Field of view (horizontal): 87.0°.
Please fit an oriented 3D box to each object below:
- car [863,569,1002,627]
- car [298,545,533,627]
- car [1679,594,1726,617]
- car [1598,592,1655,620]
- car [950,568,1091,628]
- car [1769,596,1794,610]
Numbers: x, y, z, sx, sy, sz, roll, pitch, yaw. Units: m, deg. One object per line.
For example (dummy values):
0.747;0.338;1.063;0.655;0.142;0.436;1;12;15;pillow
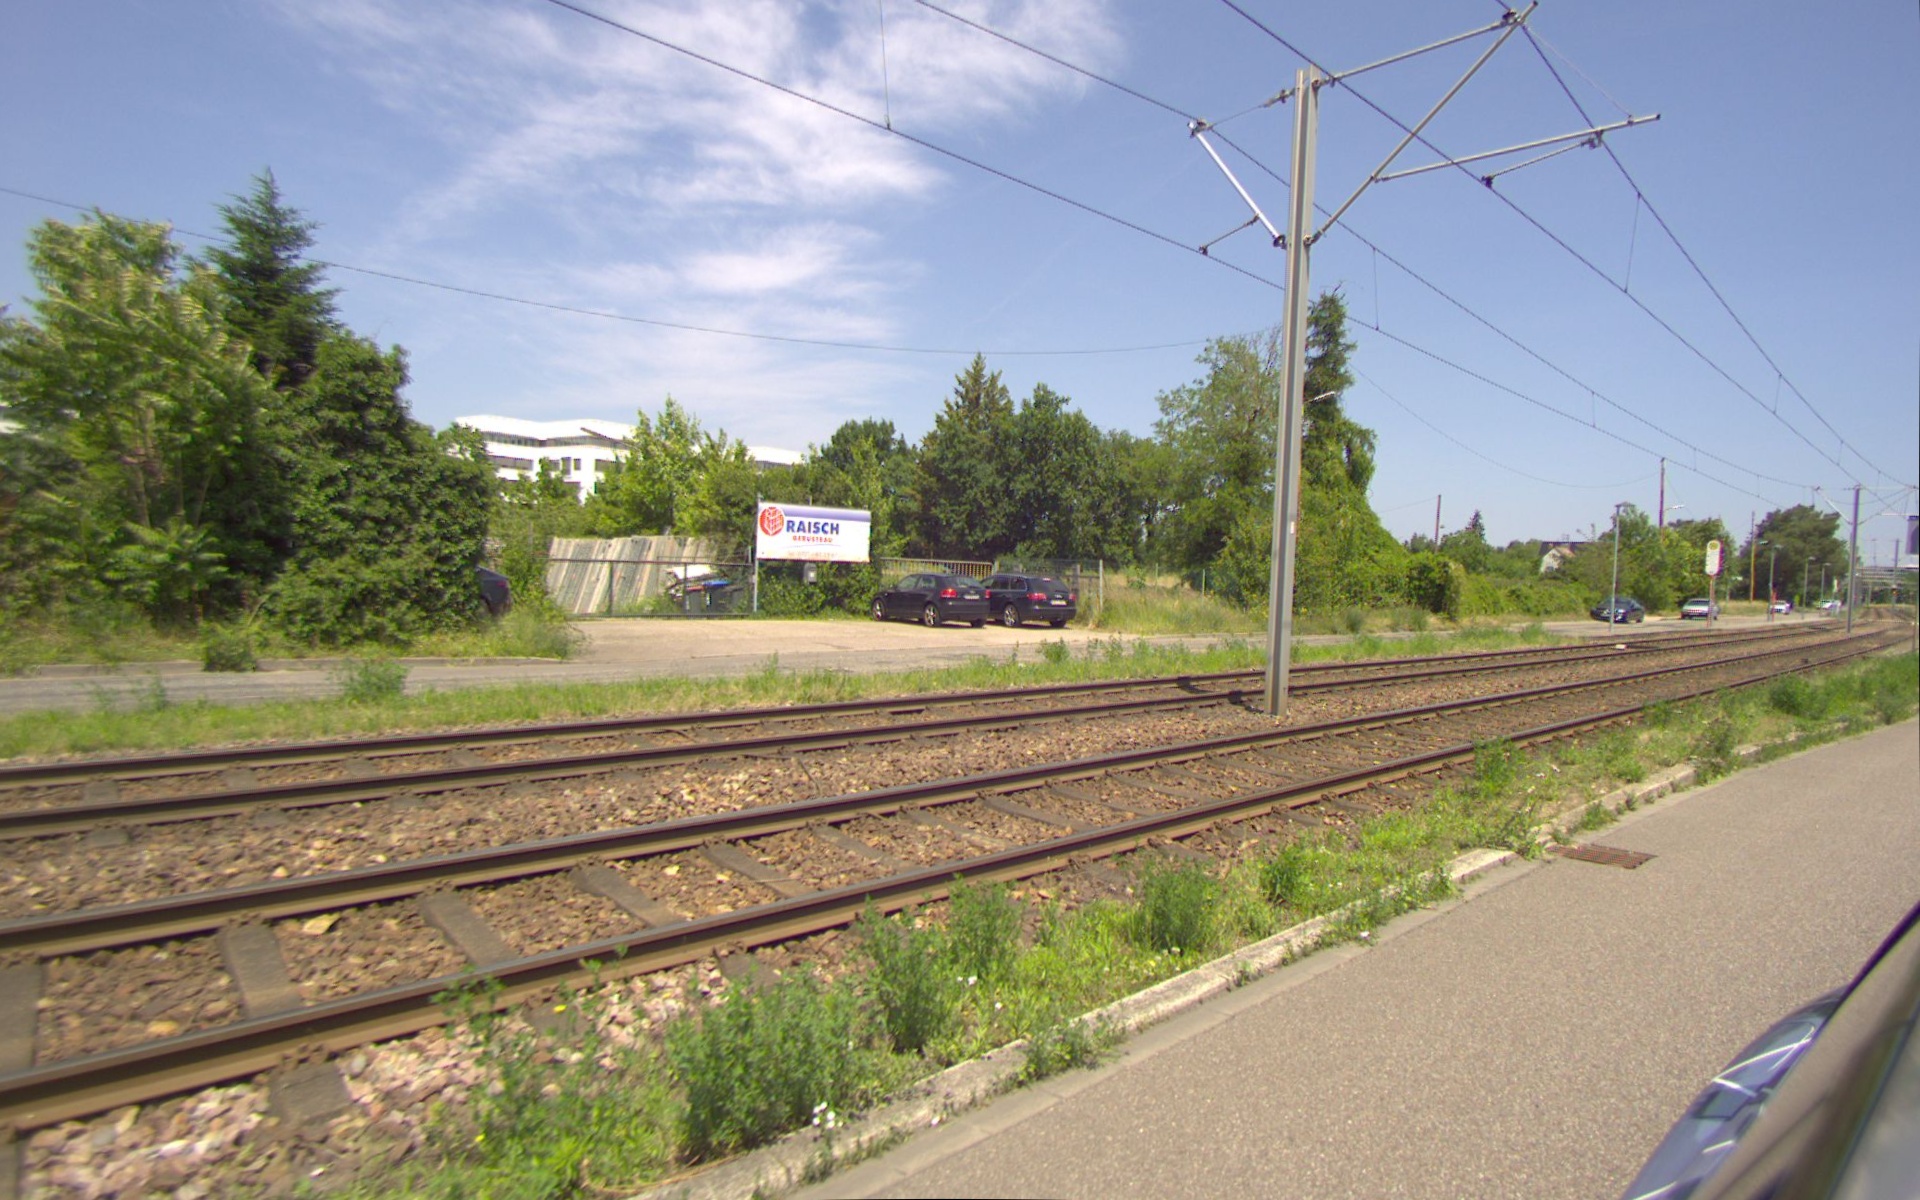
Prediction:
-0.806;-0.104;27.584;1.865;1.437;3.735;0;2;-40;car
-10.433;-0.273;19.513;3.676;1.437;1.722;0;2;-43;car
50.260;0.356;68.458;3.935;1.440;1.941;0;2;-45;car
36.911;0.305;55.986;4.792;1.440;1.621;0;2;-44;car
1.639;-0.107;28.578;1.863;1.536;4.000;0;2;-35;car
88.124;0.299;108.577;1.713;1.507;3.937;2;2;44;car
